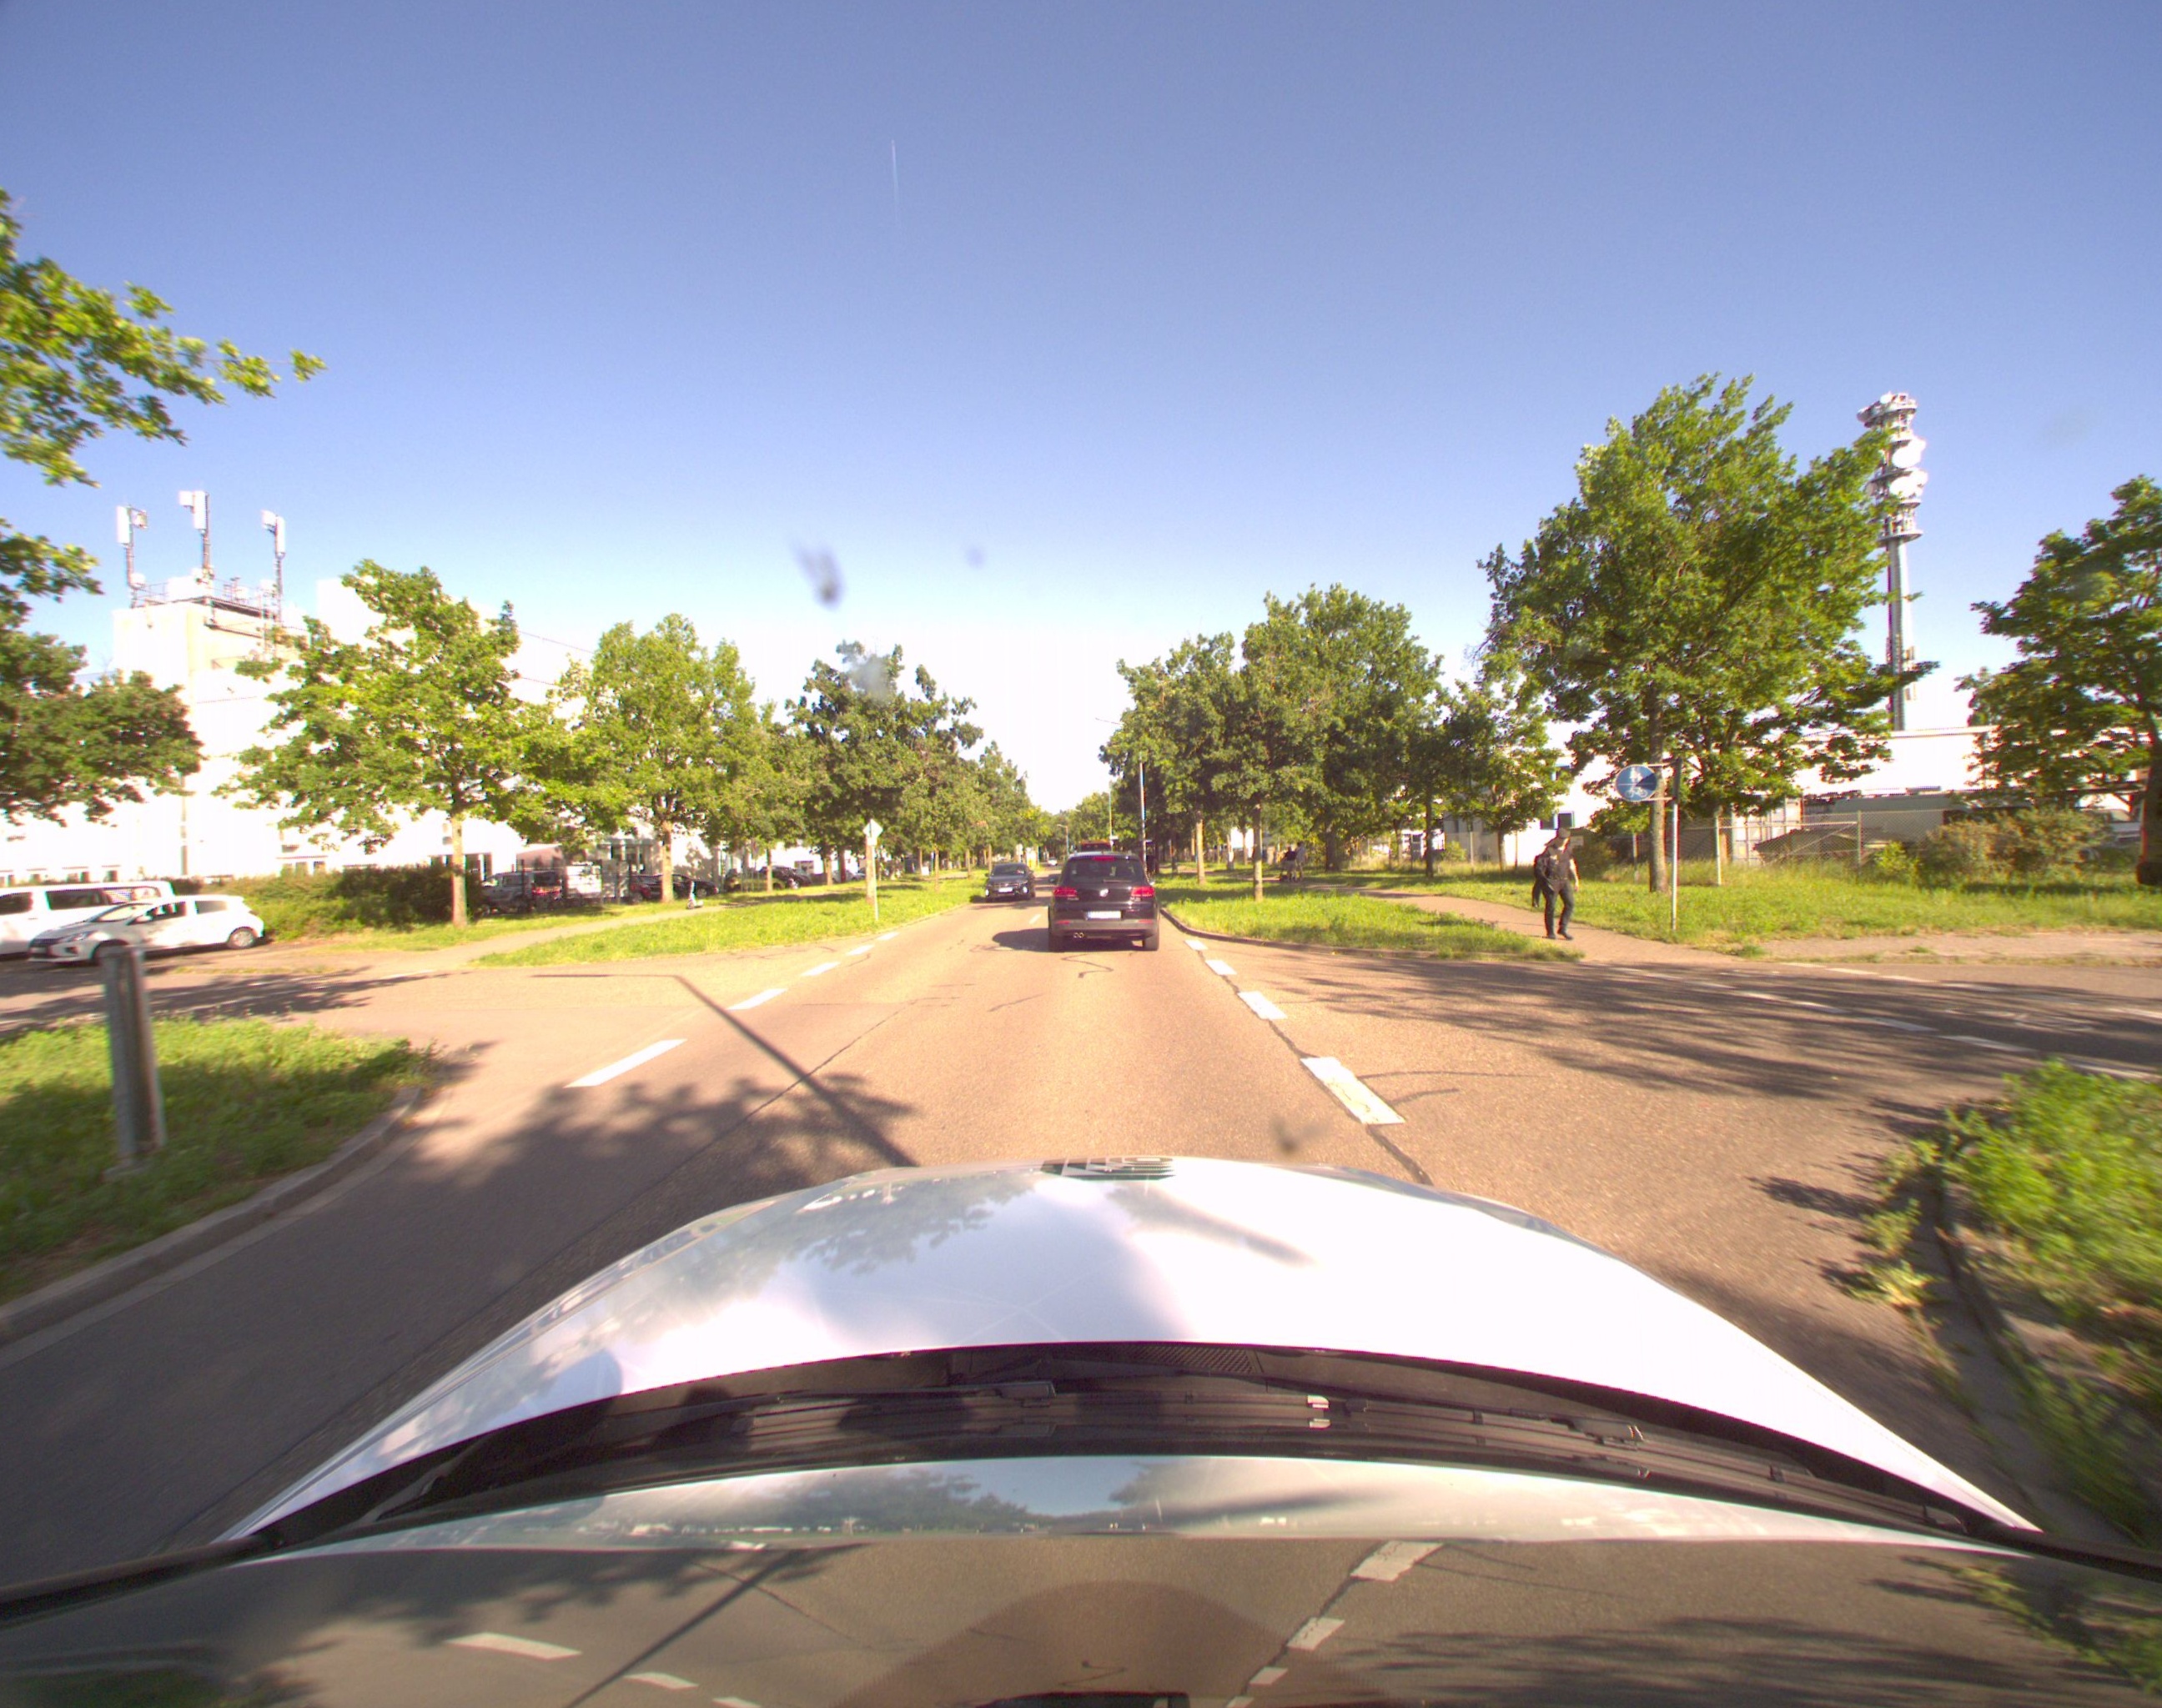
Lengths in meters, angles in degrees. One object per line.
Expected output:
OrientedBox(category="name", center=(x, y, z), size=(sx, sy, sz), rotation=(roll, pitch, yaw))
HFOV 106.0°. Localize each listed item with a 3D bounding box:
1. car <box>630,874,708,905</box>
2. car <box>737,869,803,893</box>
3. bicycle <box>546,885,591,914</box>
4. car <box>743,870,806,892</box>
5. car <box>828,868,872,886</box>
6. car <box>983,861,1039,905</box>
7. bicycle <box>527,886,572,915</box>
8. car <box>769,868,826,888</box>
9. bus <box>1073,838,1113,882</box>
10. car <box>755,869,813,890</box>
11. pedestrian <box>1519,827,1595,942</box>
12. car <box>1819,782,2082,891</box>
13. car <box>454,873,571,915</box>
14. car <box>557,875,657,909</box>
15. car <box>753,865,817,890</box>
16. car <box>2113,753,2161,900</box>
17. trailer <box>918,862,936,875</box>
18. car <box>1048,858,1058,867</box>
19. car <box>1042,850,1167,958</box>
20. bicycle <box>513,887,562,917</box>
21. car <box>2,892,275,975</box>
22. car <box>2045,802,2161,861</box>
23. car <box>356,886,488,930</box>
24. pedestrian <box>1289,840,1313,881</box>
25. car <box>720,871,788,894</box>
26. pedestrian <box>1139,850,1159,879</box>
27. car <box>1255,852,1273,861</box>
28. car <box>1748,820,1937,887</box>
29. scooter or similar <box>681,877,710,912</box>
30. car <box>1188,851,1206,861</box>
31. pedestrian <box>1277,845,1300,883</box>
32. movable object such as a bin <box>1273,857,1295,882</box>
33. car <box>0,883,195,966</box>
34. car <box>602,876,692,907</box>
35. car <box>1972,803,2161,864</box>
OrientedBox(category="car", center=(-24.223, 2.058, 47.935), size=(4.011, 1.511, 1.784), rotation=(-2, 1, -29))
OrientedBox(category="car", center=(-23.017, 1.996, 60.371), size=(4.192, 1.538, 1.874), rotation=(-2, 0, -41))
OrientedBox(category="bicycle", center=(-21.323, 1.891, 33.918), size=(0.637, 1.087, 1.891), rotation=(-2, 0, 0))
OrientedBox(category="car", center=(-23.876, 2.106, 63.544), size=(4.190, 1.491, 1.977), rotation=(-2, 0, -39))
OrientedBox(category="car", center=(-23.514, 2.356, 82.970), size=(3.714, 1.618, 1.971), rotation=(-2, -1, 15))
OrientedBox(category="car", center=(-2.798, 1.141, 33.542), size=(1.798, 1.536, 4.495), rotation=(-4, 0, 0))
OrientedBox(category="bicycle", center=(-22.310, 1.939, 34.225), size=(0.637, 1.087, 1.891), rotation=(-2, 0, 0))
OrientedBox(category="car", center=(-29.589, 2.530, 85.152), size=(5.265, 1.817, 2.153), rotation=(-2, -1, 15))
OrientedBox(category="bus", center=(0.928, 0.495, 72.221), size=(2.757, 3.456, 11.200), rotation=(-2, 0, -2))
OrientedBox(category="car", center=(-24.404, 2.071, 66.903), size=(4.184, 1.562, 1.980), rotation=(-2, 0, -31))
OrientedBox(category="pedestrian", center=(7.861, 0.472, 13.479), size=(0.723, 1.812, 0.868), rotation=(-2, 2, 0))
OrientedBox(category="car", center=(23.982, -0.424, 22.830), size=(2.153, 2.643, 4.852), rotation=(-2, 0, 1))
OrientedBox(category="car", center=(-25.435, 1.778, 36.500), size=(3.991, 1.783, 2.032), rotation=(-1, 0, 11))
OrientedBox(category="car", center=(-23.996, 1.899, 41.303), size=(1.778, 1.448, 4.024), rotation=(-3, -1, 43))
OrientedBox(category="car", center=(-26.061, 2.050, 71.815), size=(4.885, 2.013, 1.976), rotation=(-2, -1, -41))
OrientedBox(category="car", center=(19.491, -0.389, 11.933), size=(2.070, 2.565, 5.994), rotation=(-1, 3, 13))
OrientedBox(category="trailer", center=(-24.958, 2.349, 132.137), size=(2.096, 1.914, 3.739), rotation=(-2, 0, -1))
OrientedBox(category="car", center=(-4.929, 1.474, 143.755), size=(1.739, 1.465, 4.424), rotation=(-3, 0, -1))
OrientedBox(category="car", center=(0.392, 0.770, 14.883), size=(1.929, 1.656, 4.427), rotation=(-1, 0, 1))
OrientedBox(category="bicycle", center=(-21.654, 1.900, 32.511), size=(0.637, 1.087, 1.891), rotation=(-2, 0, 0))
OrientedBox(category="car", center=(-23.513, 1.919, 20.566), size=(1.980, 1.504, 3.931), rotation=(-2, 2, 12))
OrientedBox(category="car", center=(39.170, -0.876, 30.026), size=(2.070, 2.061, 5.032), rotation=(-1, 3, 13))
OrientedBox(category="car", center=(-26.157, 2.102, 32.508), size=(1.787, 1.448, 4.004), rotation=(-2, 0, 4))
OrientedBox(category="pedestrian", center=(9.851, 0.283, 36.429), size=(0.723, 1.755, 0.867), rotation=(-4, -1, 0))
OrientedBox(category="car", center=(-22.907, 2.013, 57.165), size=(3.975, 1.402, 1.976), rotation=(-2, 0, -41))
OrientedBox(category="pedestrian", center=(3.896, 0.592, 47.019), size=(1.016, 1.651, 1.099), rotation=(-2, -1, 0))
OrientedBox(category="car", center=(28.736, 0.351, 128.012), size=(1.762, 1.383, 3.761), rotation=(-2, 0, -5))
OrientedBox(category="car", center=(21.413, -0.007, 23.117), size=(1.998, 1.664, 3.597), rotation=(-2, 0, 1))
OrientedBox(category="scooter or similar", center=(-15.004, 1.550, 31.723), size=(0.393, 1.279, 1.441), rotation=(-2, -1, 2))
OrientedBox(category="car", center=(21.213, 0.436, 149.314), size=(2.180, 1.744, 4.634), rotation=(-2, 0, -4))
OrientedBox(category="pedestrian", center=(9.053, 0.425, 35.525), size=(0.723, 1.603, 0.867), rotation=(-2, -1, 0))
OrientedBox(category="movable object such as a bin", center=(9.056, 0.685, 36.400), size=(0.723, 1.081, 0.867), rotation=(-4, -1, 0))
OrientedBox(category="car", center=(-28.345, 1.931, 21.977), size=(2.285, 1.816, 5.461), rotation=(-2, 2, 12))
OrientedBox(category="car", center=(-23.907, 2.026, 44.945), size=(4.022, 1.448, 1.779), rotation=(-2, -1, -42))
OrientedBox(category="car", center=(36.806, -0.814, 30.542), size=(2.070, 2.061, 5.032), rotation=(-1, 3, 13))
